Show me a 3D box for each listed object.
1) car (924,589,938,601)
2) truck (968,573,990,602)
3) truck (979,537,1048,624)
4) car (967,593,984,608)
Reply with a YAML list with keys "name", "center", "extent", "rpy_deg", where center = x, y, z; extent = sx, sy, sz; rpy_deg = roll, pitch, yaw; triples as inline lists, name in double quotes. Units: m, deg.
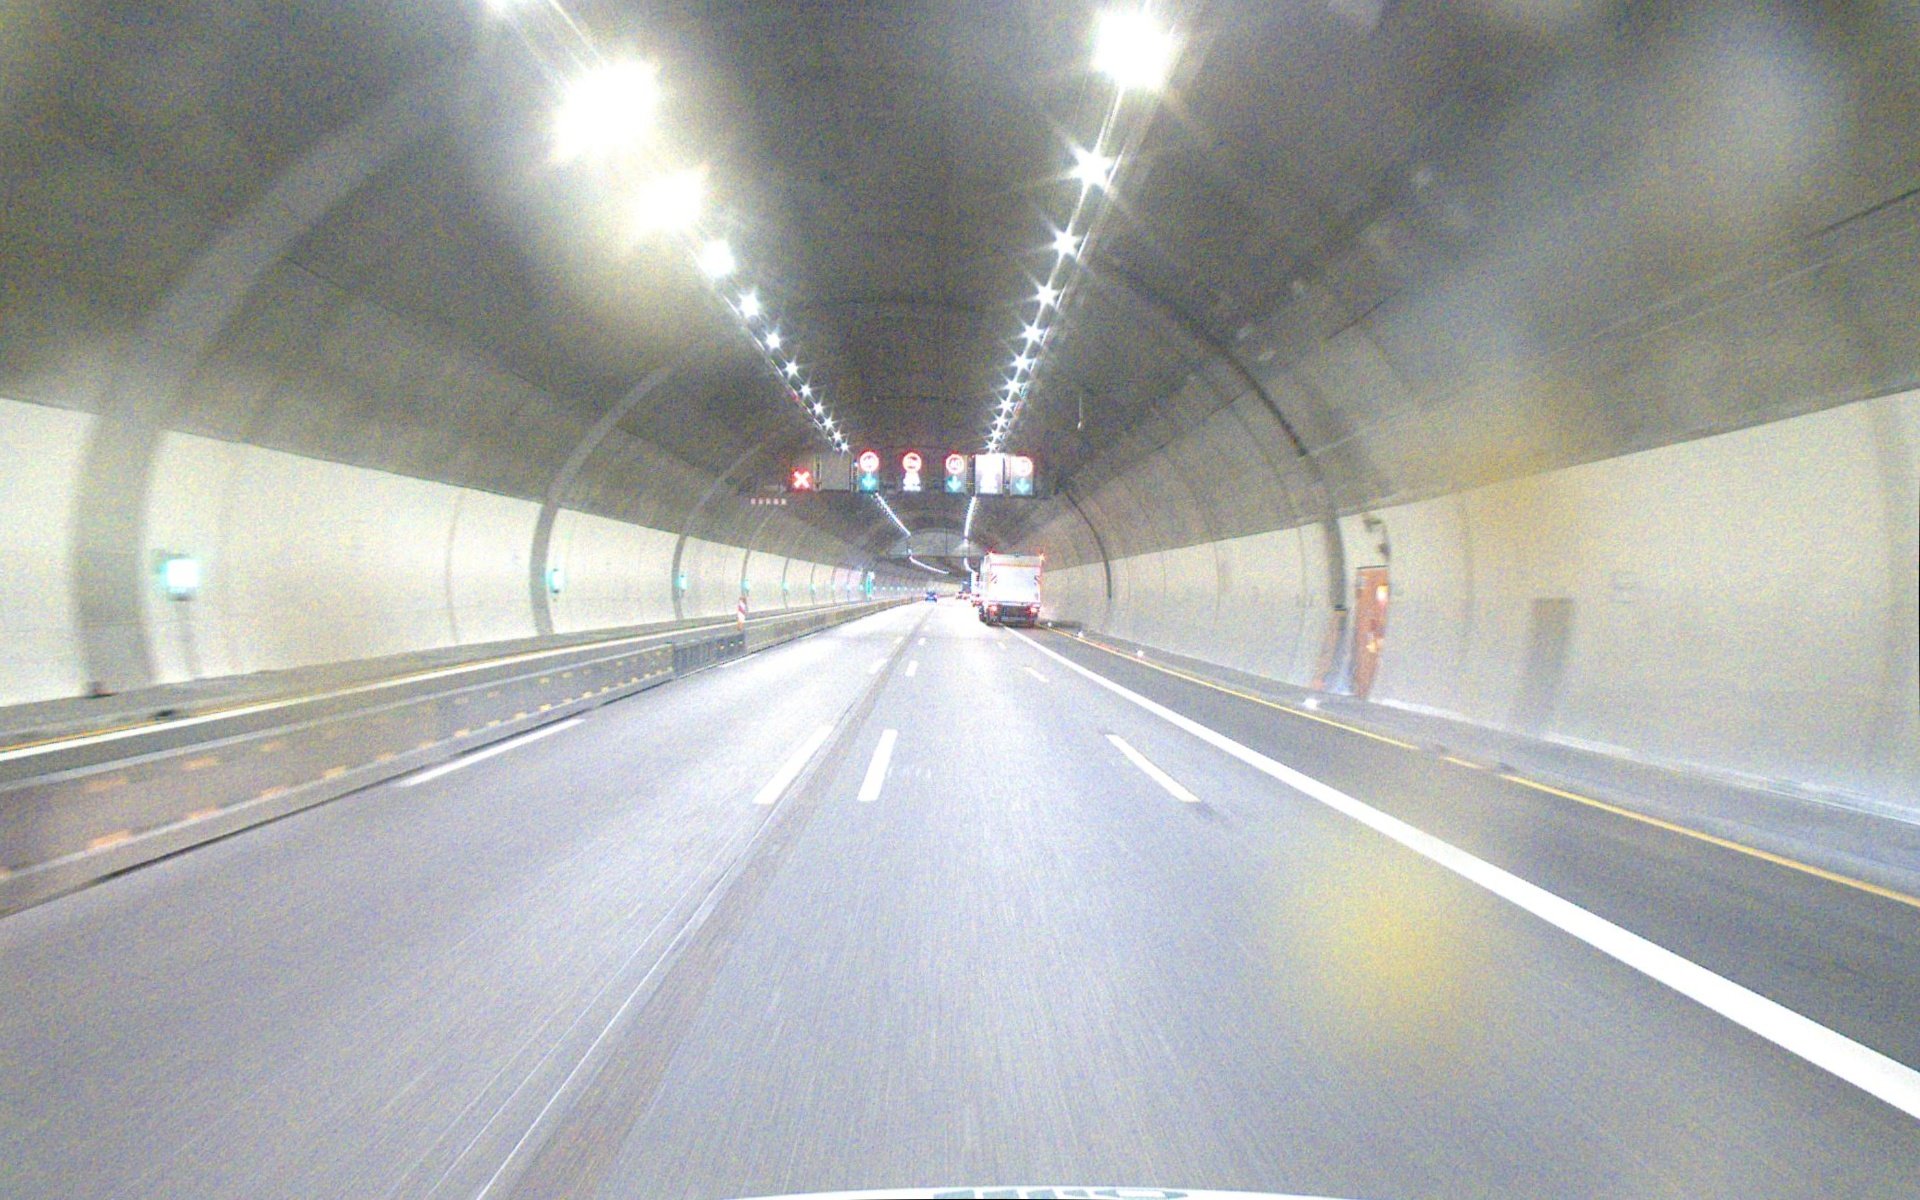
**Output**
- name: "car"
  center: [-3.735, -0.624, 211.626]
  extent: [1.723, 1.486, 4.119]
  rpy_deg: [1, 1, 0]
- name: "truck"
  center: [2.761, -1.800, 240.032]
  extent: [3.003, 3.986, 10.368]
  rpy_deg: [2, -1, 1]
- name: "truck"
  center: [2.594, -0.876, 83.253]
  extent: [3.029, 3.986, 10.366]
  rpy_deg: [2, -1, 0]
- name: "car"
  center: [1.670, 0.058, 172.202]
  extent: [1.703, 1.486, 3.961]
  rpy_deg: [1, 1, 1]
